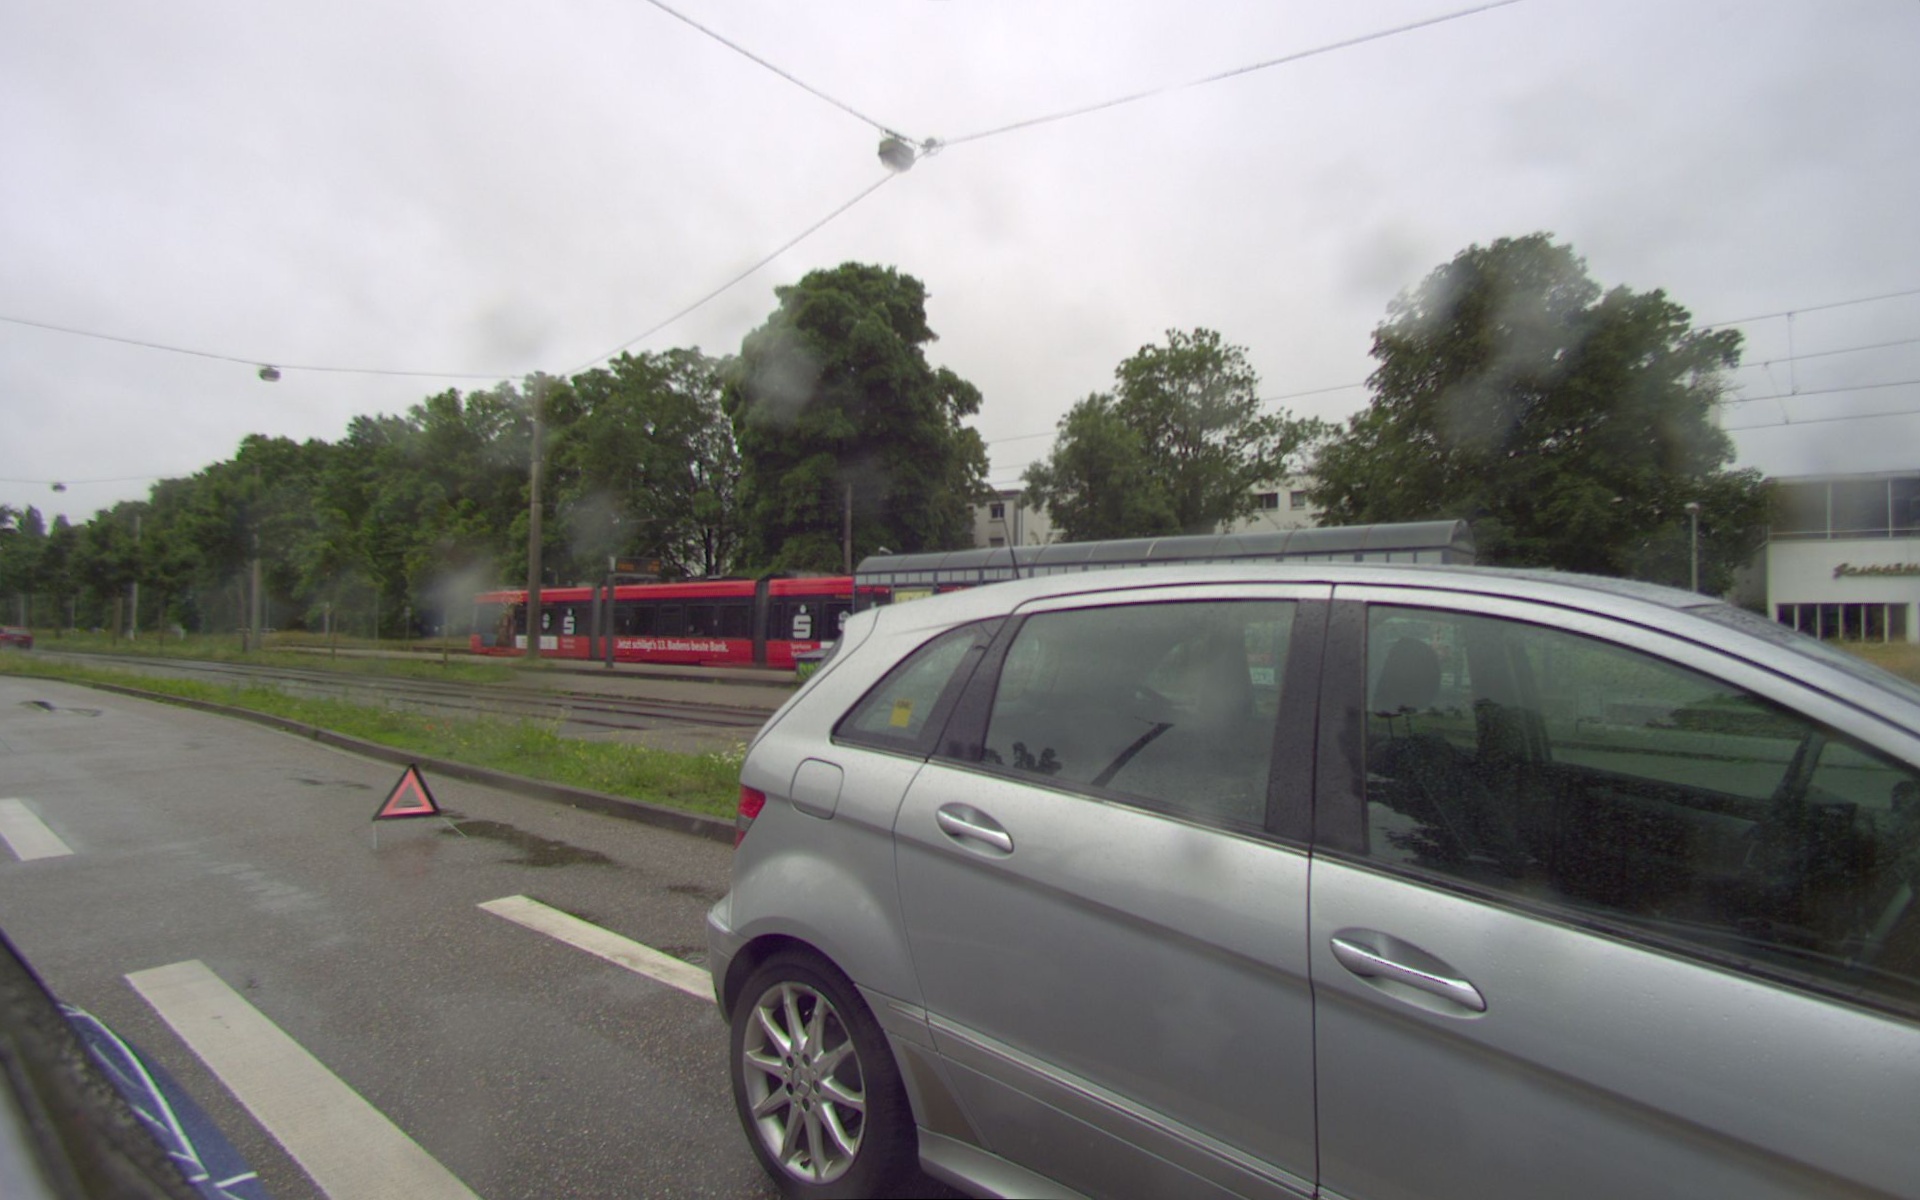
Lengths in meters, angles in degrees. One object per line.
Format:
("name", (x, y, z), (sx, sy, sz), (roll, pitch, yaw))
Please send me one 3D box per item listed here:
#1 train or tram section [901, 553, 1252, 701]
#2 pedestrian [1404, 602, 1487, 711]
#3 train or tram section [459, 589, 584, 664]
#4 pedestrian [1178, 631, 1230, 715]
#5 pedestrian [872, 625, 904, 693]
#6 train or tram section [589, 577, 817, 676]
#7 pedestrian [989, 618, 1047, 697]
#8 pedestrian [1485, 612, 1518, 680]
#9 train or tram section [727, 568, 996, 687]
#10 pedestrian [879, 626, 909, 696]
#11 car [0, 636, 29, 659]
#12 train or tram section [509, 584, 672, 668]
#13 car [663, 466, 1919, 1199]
("train or tram section", (2.901, 0.759, 27.778), (9.275, 3.415, 3.495), (-1, -3, 42))
("pedestrian", (7.870, 0.882, 16.415), (0.996, 1.688, 0.914), (-1, 0, 42))
("train or tram section", (-21.553, 1.322, 49.681), (5.767, 3.444, 3.495), (-1, -3, 42))
("pedestrian", (4.375, 1.297, 18.167), (0.699, 1.464, 0.618), (-2, -3, 43))
("pedestrian", (-1.714, 1.389, 24.059), (0.514, 1.574, 0.603), (0, 0, -35))
("train or tram section", (-10.283, 1.057, 39.566), (10.257, 3.427, 3.495), (-1, -3, 42))
("pedestrian", (1.217, 1.188, 21.295), (0.929, 1.609, 0.795), (-1, -3, 44))
("pedestrian", (14.703, 1.235, 27.479), (0.680, 1.806, 0.623), (-1, 0, 40))
("train or tram section", (-3.496, 0.912, 33.503), (9.275, 3.416, 3.495), (-1, -3, 42))
("pedestrian", (-1.525, 1.388, 23.390), (0.437, 1.574, 0.603), (0, 0, -35))
("car", (-59.978, 2.953, 63.520), (4.247, 1.371, 1.663), (-1, -5, 40))
("train or tram section", (-16.636, 1.195, 45.254), (7.900, 3.438, 3.495), (-1, -3, 42))
("car", (1.237, 0.645, 2.130), (4.011, 1.556, 1.718), (-1, -1, 41))
